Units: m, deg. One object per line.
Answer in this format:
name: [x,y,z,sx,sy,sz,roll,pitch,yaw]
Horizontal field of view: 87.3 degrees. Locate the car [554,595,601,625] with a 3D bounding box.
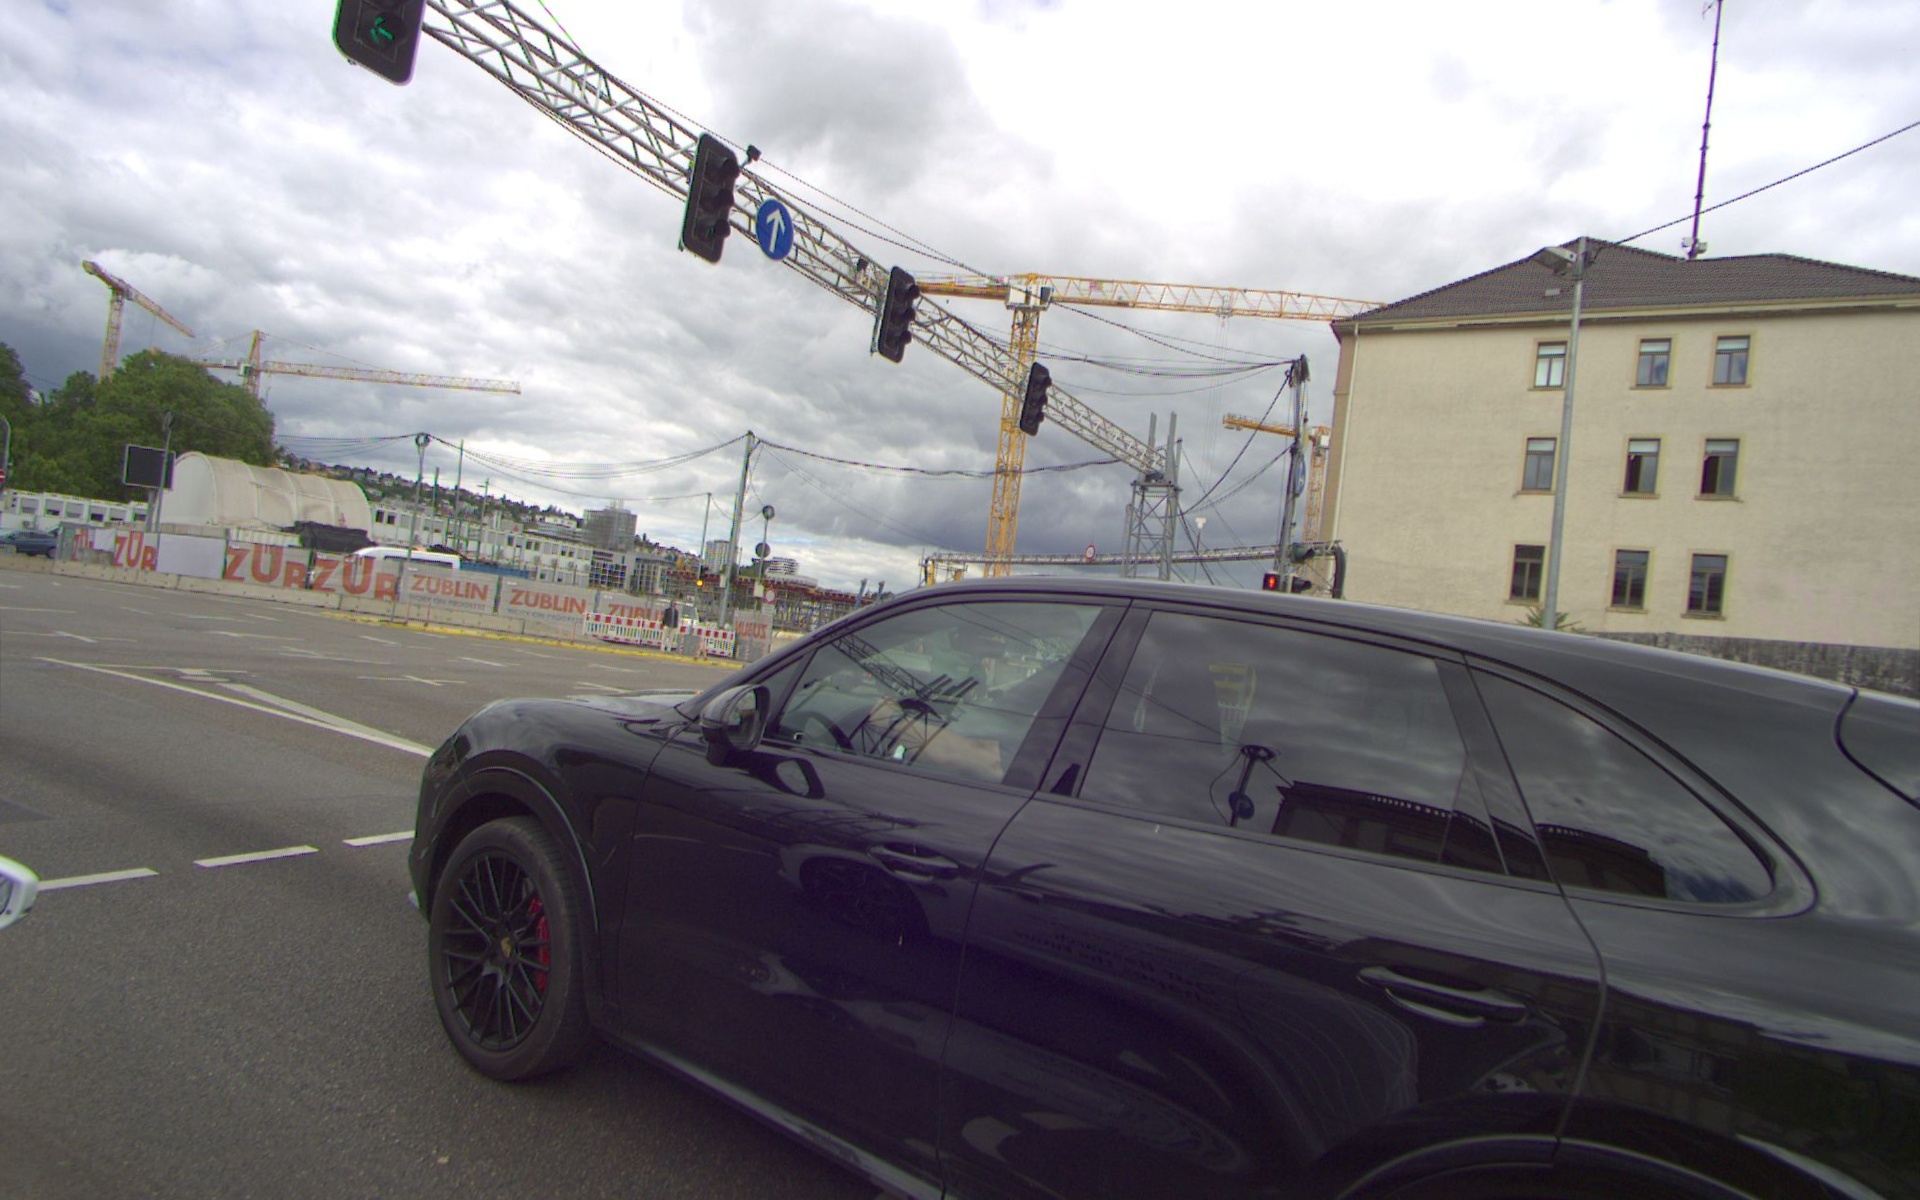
car: [-24.094,0.622,63.322,1.667,1.545,3.963,8,-2,-35]

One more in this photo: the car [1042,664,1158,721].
car: [5.050,3.326,35.709,1.989,1.643,4.813,6,-3,35]

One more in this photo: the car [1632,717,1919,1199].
car: [4.959,1.536,3.729,3.936,1.644,1.678,5,-2,34]

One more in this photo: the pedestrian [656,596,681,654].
pedestrian: [-10.435,0.899,36.024,0.579,1.999,0.433,8,-1,-15]

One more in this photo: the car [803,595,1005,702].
car: [-1.367,1.412,27.528,2.268,2.331,5.764,6,-3,35]

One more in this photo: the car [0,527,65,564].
car: [-51.622,-3.082,54.704,1.788,1.643,4.005,6,-2,15]

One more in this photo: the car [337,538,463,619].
car: [-22.626,-0.839,40.725,3.976,2.692,1.661,9,-2,-43]

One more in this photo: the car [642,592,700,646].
car: [-12.186,0.775,42.349,1.755,1.976,3.111,7,-2,-24]

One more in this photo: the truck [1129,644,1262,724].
truck: [10.626,3.846,44.540,2.584,2.835,8.996,6,-3,33]

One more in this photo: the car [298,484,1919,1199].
car: [0.165,0.730,2.970,4.413,1.735,1.827,5,-2,34]
